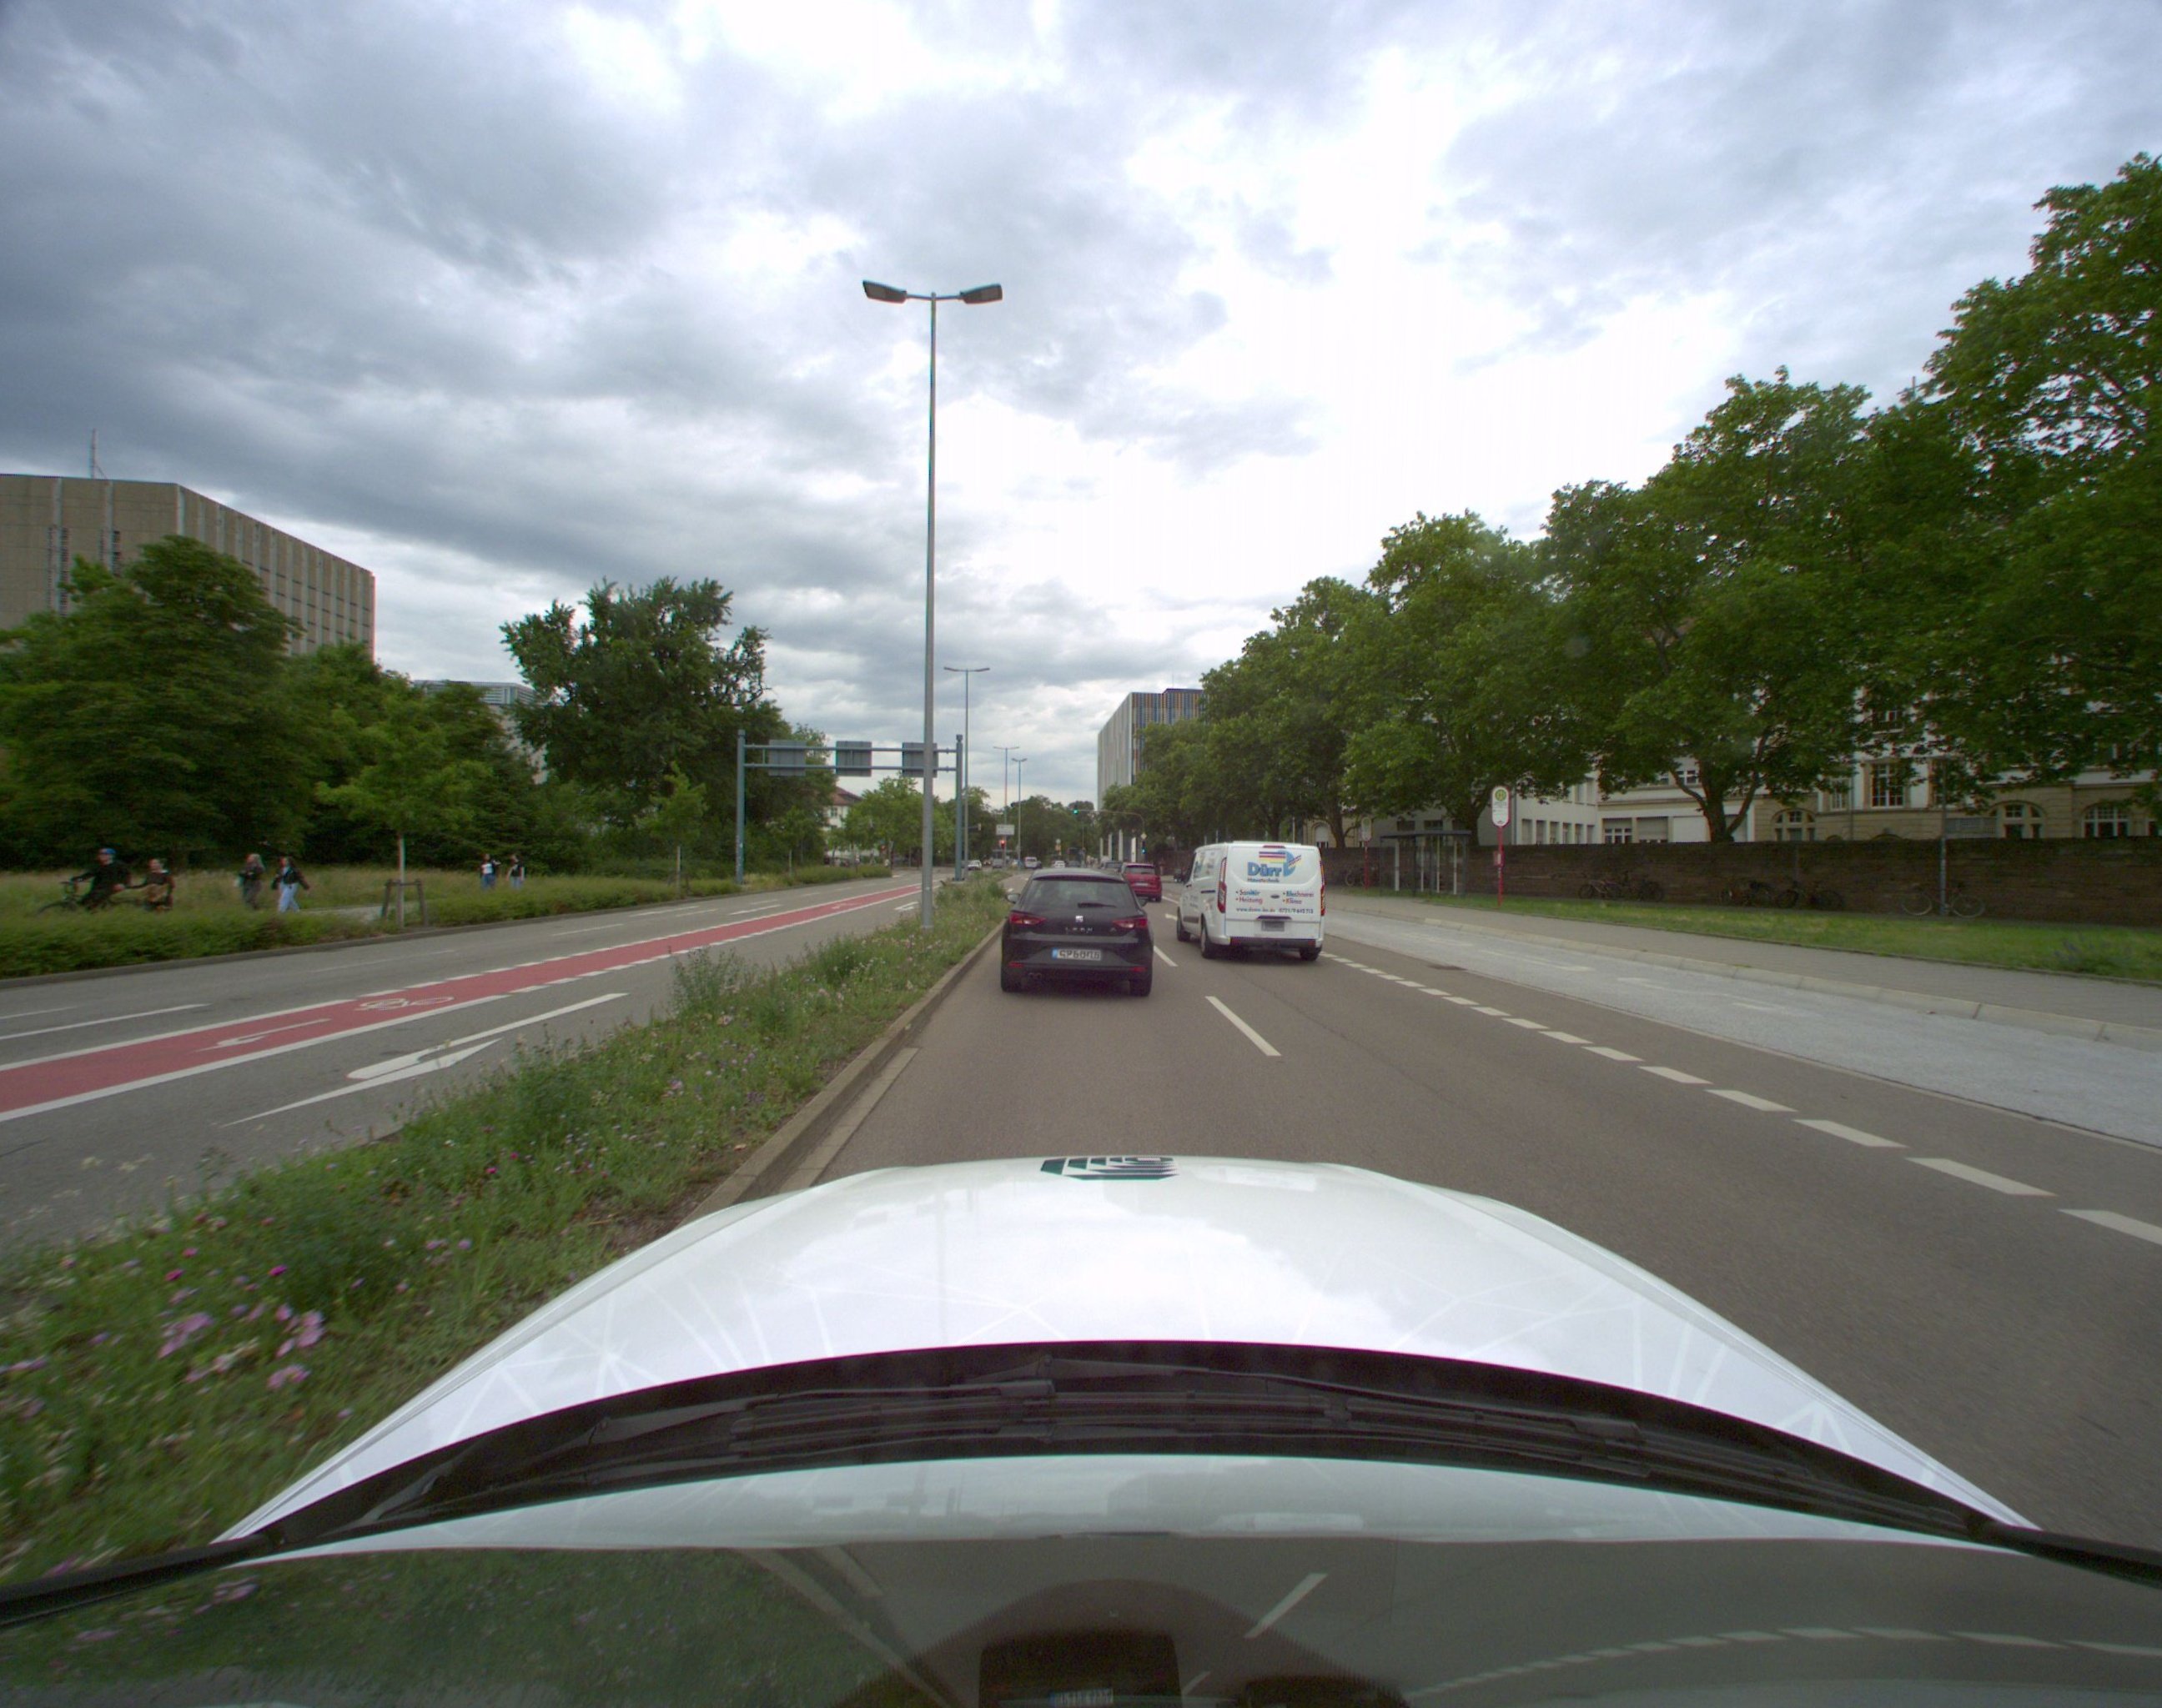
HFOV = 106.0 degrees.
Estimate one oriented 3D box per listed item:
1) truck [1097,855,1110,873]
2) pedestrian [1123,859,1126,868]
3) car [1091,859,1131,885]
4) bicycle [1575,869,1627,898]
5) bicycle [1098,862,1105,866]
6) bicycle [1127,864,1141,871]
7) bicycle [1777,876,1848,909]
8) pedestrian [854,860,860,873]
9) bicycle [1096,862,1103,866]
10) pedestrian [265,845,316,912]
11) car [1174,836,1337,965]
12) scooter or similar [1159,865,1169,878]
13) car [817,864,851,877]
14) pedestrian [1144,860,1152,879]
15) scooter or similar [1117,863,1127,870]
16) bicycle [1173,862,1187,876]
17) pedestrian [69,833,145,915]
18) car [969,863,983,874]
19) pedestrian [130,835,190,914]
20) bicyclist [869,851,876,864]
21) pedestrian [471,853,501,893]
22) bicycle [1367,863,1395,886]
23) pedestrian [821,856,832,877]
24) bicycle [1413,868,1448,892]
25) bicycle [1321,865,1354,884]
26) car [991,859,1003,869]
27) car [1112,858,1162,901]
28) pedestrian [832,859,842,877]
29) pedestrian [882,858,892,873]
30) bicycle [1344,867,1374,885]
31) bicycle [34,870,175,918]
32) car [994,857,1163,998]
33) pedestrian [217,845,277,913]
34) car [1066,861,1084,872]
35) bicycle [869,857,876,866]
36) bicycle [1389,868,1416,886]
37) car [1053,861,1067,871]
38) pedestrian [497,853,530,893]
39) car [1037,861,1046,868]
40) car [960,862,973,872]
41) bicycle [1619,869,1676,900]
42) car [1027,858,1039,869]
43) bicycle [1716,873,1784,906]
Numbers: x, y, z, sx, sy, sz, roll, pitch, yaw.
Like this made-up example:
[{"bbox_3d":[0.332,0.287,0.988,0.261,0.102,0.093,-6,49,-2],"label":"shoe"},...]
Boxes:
[{"bbox_3d":[2.782,1.206,100.374,1.314,2.243,3.399,-1,0,-2],"label":"truck"},{"bbox_3d":[7.086,1.578,132.263,0.469,1.361,0.446,-1,0,8],"label":"pedestrian"},{"bbox_3d":[1.980,1.171,54.622,1.914,1.664,4.102,-1,0,-9],"label":"car"},{"bbox_3d":[20.876,1.169,32.722,0.597,1.136,1.698,-1,0,-28],"label":"bicycle"},{"bbox_3d":[4.306,2.023,170.076,1.240,0.823,0.478,3,-2,-24],"label":"bicycle"},{"bbox_3d":[7.750,1.979,119.739,1.894,0.899,0.692,-1,0,-23],"label":"bicycle"},{"bbox_3d":[23.821,1.236,26.554,0.553,0.992,1.621,-1,0,-31],"label":"bicycle"},{"bbox_3d":[-26.825,1.499,97.417,0.573,1.527,0.841,1,-5,-26],"label":"pedestrian"},{"bbox_3d":[3.945,2.066,172.499,1.264,0.848,0.478,4,-2,-24],"label":"bicycle"},{"bbox_3d":[-20.098,0.601,20.718,0.585,1.660,0.718,-1,0,-8],"label":"pedestrian"},{"bbox_3d":[3.009,0.744,15.057,1.961,1.972,4.341,2,0,-1],"label":"car"},{"bbox_3d":[8.161,1.708,79.923,0.428,1.179,1.713,-2,-1,23],"label":"scooter or similar"},{"bbox_3d":[-29.496,1.967,97.399,3.653,1.223,1.560,1,6,-8],"label":"car"},{"bbox_3d":[6.207,1.410,75.604,0.459,1.739,0.550,-1,0,-41],"label":"pedestrian"},{"bbox_3d":[7.133,2.171,141.882,1.683,1.106,0.493,-1,0,-34],"label":"scooter or similar"},{"bbox_3d":[8.855,1.334,72.946,0.802,1.174,1.949,-2,0,-7],"label":"bicycle"},{"bbox_3d":[-19.933,0.401,16.678,0.656,1.632,0.766,-1,0,13],"label":"pedestrian"},{"bbox_3d":[-14.844,2.038,114.971,1.603,1.381,3.806,-1,0,-2],"label":"car"},{"bbox_3d":[-19.190,0.419,16.972,0.571,1.609,0.618,-1,0,14],"label":"pedestrian"},{"bbox_3d":[-25.467,0.446,99.676,0.668,1.635,0.955,2,-2,-21],"label":"bicyclist"},{"bbox_3d":[-20.464,0.654,28.012,0.647,1.362,0.676,-1,0,-20],"label":"pedestrian"},{"bbox_3d":[16.321,1.089,44.296,0.500,1.221,1.616,-1,0,-19],"label":"bicycle"},{"bbox_3d":[-21.271,1.042,68.065,0.618,1.729,0.817,-1,0,-2],"label":"pedestrian"},{"bbox_3d":[17.306,1.272,40.411,0.599,1.104,1.643,-1,0,-22],"label":"bicycle"},{"bbox_3d":[15.051,1.179,47.791,0.723,1.100,1.774,-1,0,-31],"label":"bicycle"},{"bbox_3d":[-13.137,1.643,127.271,1.762,1.460,4.779,-1,-1,-7],"label":"car"},{"bbox_3d":[2.330,1.030,34.485,1.941,1.624,3.751,2,0,3],"label":"car"},{"bbox_3d":[-22.052,1.286,73.491,0.698,1.636,0.671,-1,0,-2],"label":"pedestrian"},{"bbox_3d":[-23.346,1.439,97.937,0.847,1.740,0.821,3,-6,-41],"label":"pedestrian"},{"bbox_3d":[15.703,1.242,46.001,0.655,0.951,1.758,-1,0,-19],"label":"bicycle"},{"bbox_3d":[-19.927,0.798,16.675,0.656,0.888,1.721,-1,0,13],"label":"bicycle"},{"bbox_3d":[0.047,0.811,10.499,1.746,1.432,3.770,2,-1,2],"label":"car"},{"bbox_3d":[-20.947,0.617,20.469,0.706,1.672,0.765,-1,0,-8],"label":"pedestrian"},{"bbox_3d":[-0.757,1.542,100.548,1.896,1.354,3.875,-1,0,-5],"label":"car"},{"bbox_3d":[-25.492,0.915,99.702,0.668,1.062,1.608,2,-2,-21],"label":"bicycle"},{"bbox_3d":[16.852,1.196,42.777,0.417,0.942,1.515,-1,0,-19],"label":"bicycle"},{"bbox_3d":[-2.941,1.649,114.066,1.613,1.354,3.993,-1,0,-5],"label":"car"},{"bbox_3d":[-19.449,0.635,27.909,0.644,1.358,0.709,-1,0,-7],"label":"pedestrian"},{"bbox_3d":[-6.700,1.722,138.055,1.503,1.194,3.157,-1,0,-5],"label":"car"},{"bbox_3d":[-20.968,2.310,148.856,1.901,1.717,3.997,-1,0,-2],"label":"car"},{"bbox_3d":[21.660,1.163,31.193,0.597,1.129,1.698,-1,0,-28],"label":"bicycle"},{"bbox_3d":[-7.177,1.366,121.504,1.693,1.504,4.002,-1,0,-5],"label":"car"},{"bbox_3d":[23.048,1.215,28.082,0.597,1.059,1.698,-1,0,-28],"label":"bicycle"}]
